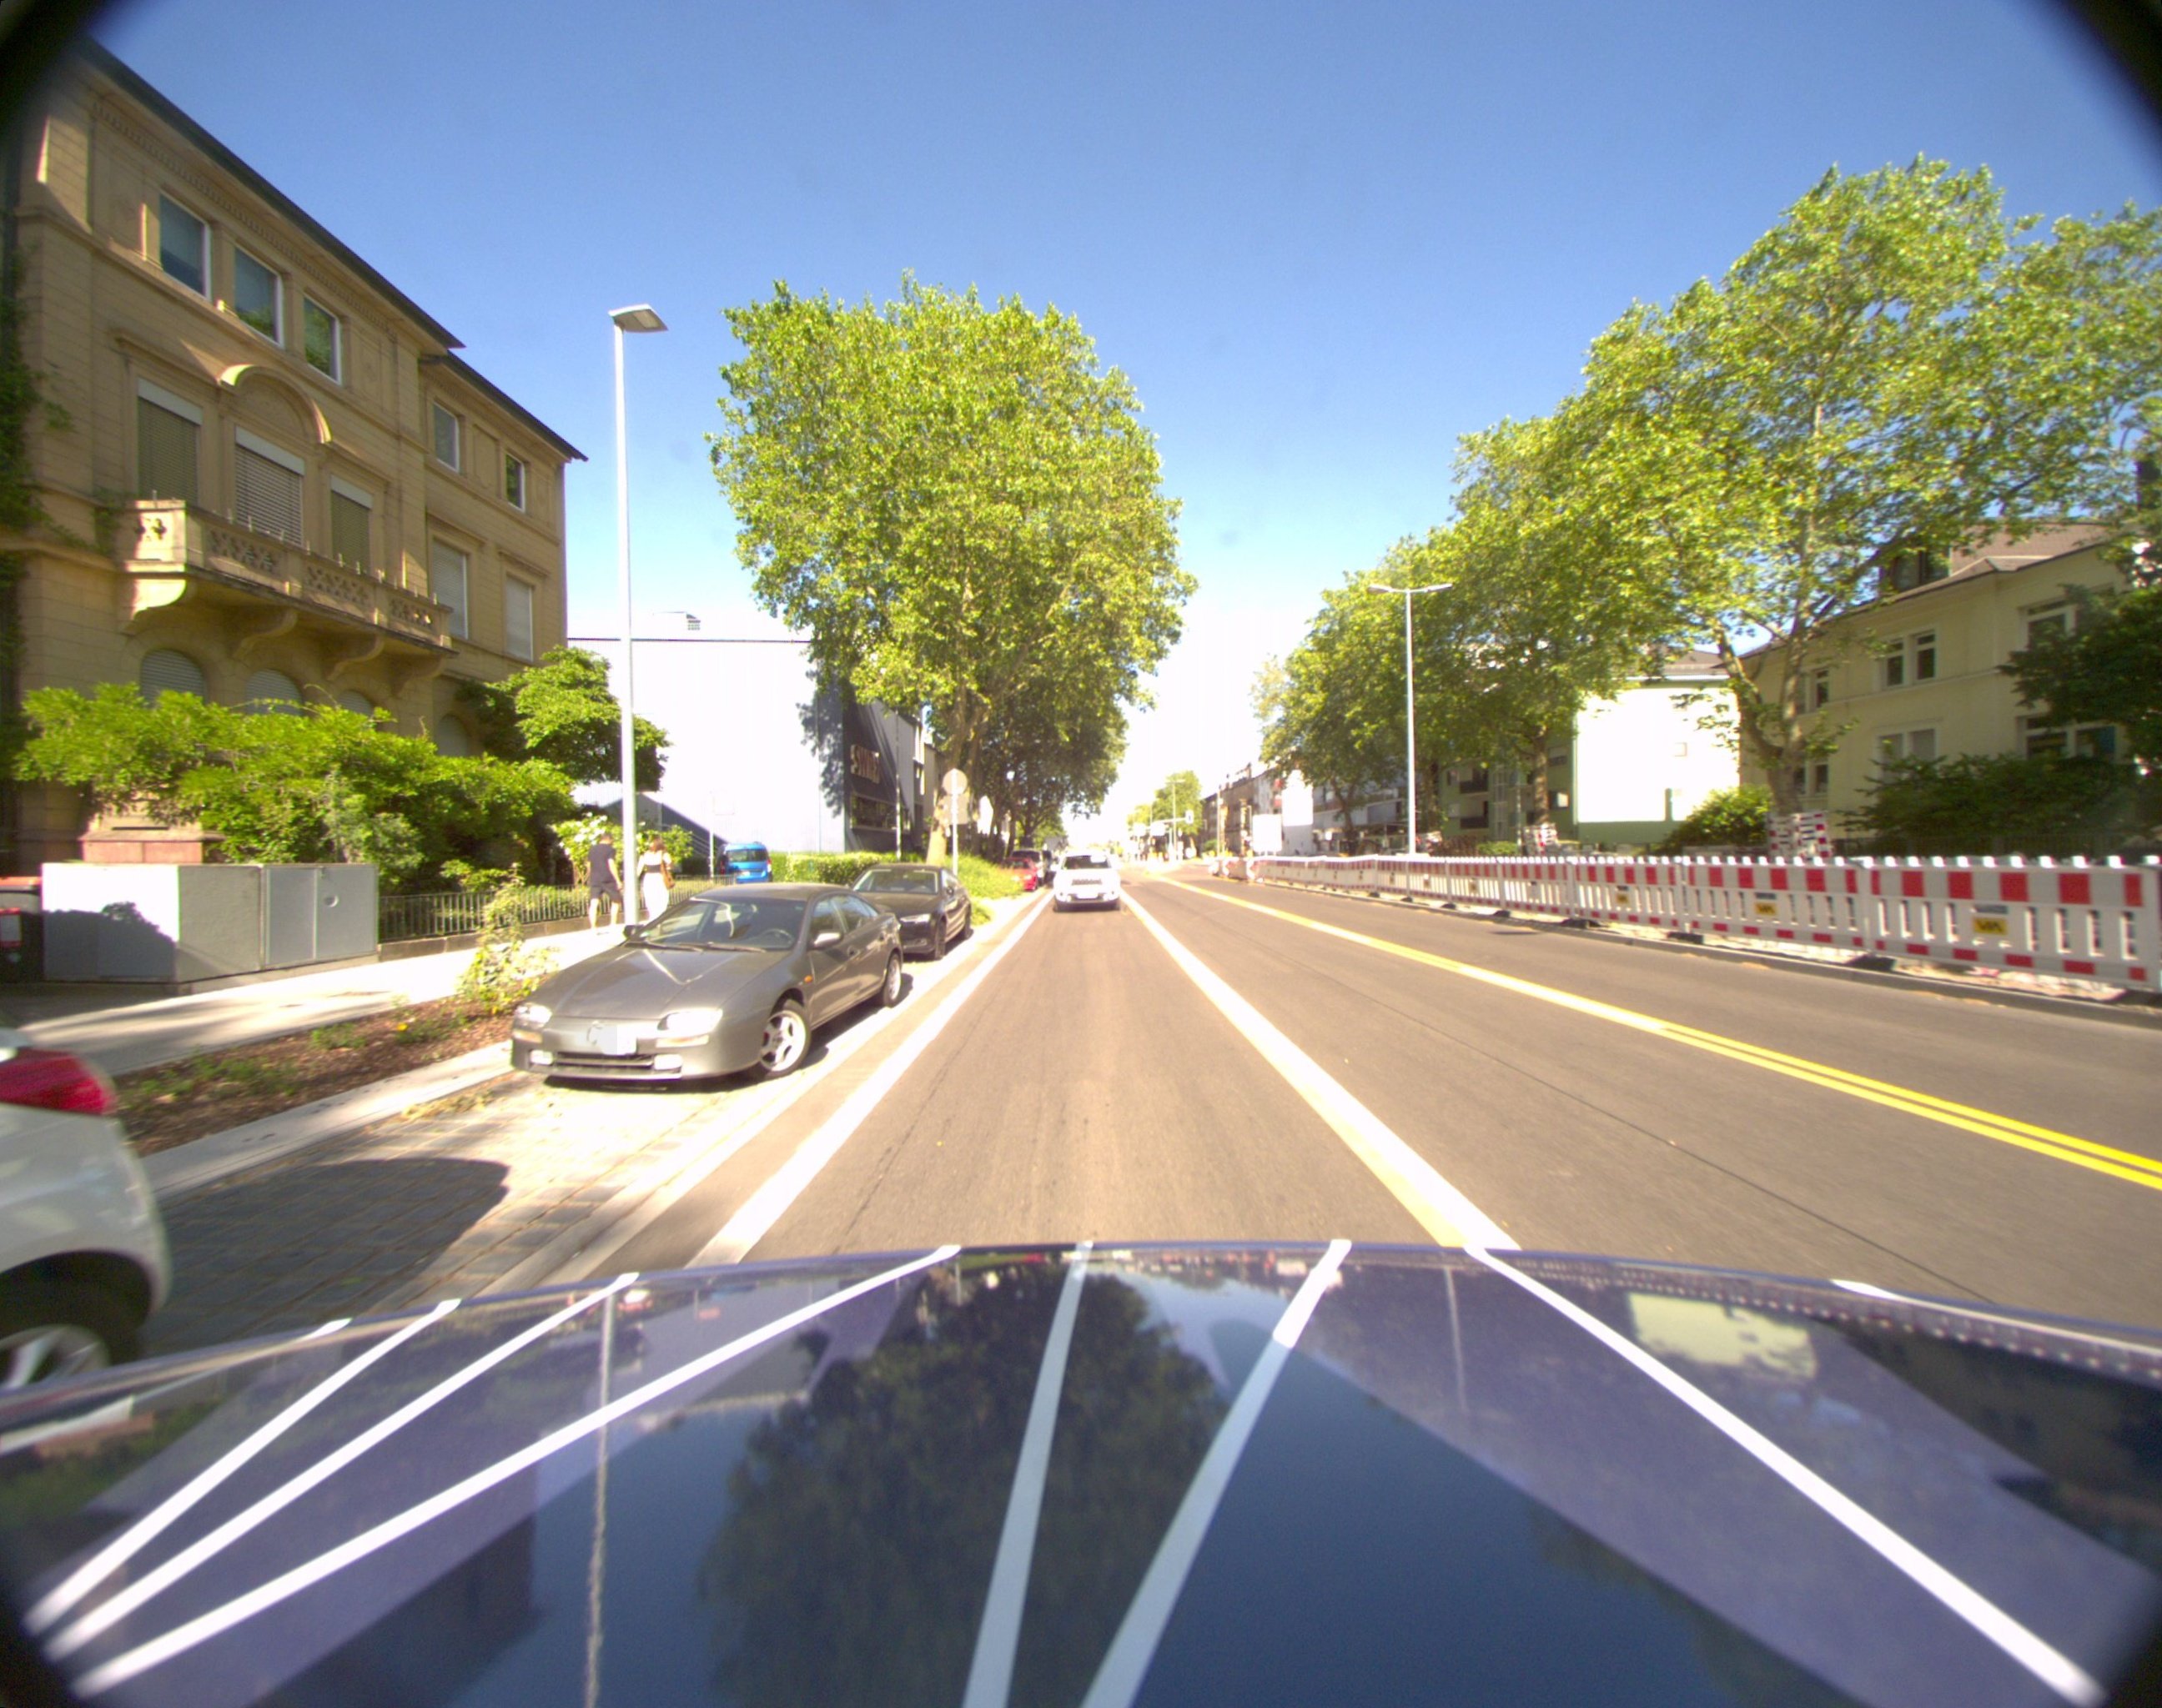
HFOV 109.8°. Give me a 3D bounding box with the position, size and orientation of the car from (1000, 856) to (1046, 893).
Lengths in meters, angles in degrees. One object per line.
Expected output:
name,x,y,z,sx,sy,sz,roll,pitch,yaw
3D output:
car,-2.529,0.870,33.694,1.674,1.509,3.997,0,0,1

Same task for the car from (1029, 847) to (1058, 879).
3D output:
car,-2.468,0.556,50.449,1.631,1.997,4.220,0,1,1

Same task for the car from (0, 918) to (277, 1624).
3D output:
car,-3.171,0.938,0.345,1.624,1.477,3.733,1,1,1

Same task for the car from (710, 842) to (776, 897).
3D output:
car,-12.151,0.482,27.152,1.803,1.811,3.990,-1,1,-29

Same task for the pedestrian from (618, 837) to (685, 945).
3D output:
pedestrian,-7.322,0.616,12.972,0.698,1.786,0.715,0,1,0

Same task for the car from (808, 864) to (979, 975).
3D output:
car,-2.930,0.951,12.908,1.720,1.404,4.476,2,0,1

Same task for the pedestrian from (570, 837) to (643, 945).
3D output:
pedestrian,-8.119,0.613,13.031,0.698,1.786,0.802,0,1,0

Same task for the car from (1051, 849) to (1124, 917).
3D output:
car,0.201,0.763,22.317,1.868,1.716,4.506,-2,0,1

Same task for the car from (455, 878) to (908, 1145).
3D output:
car,-2.825,0.995,6.521,1.720,1.404,4.048,1,0,1

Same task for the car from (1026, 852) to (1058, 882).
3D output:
car,-2.252,0.722,45.047,1.631,1.625,4.220,0,0,1

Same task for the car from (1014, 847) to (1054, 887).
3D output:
car,-2.395,0.627,39.699,1.753,1.954,4.506,0,1,1
